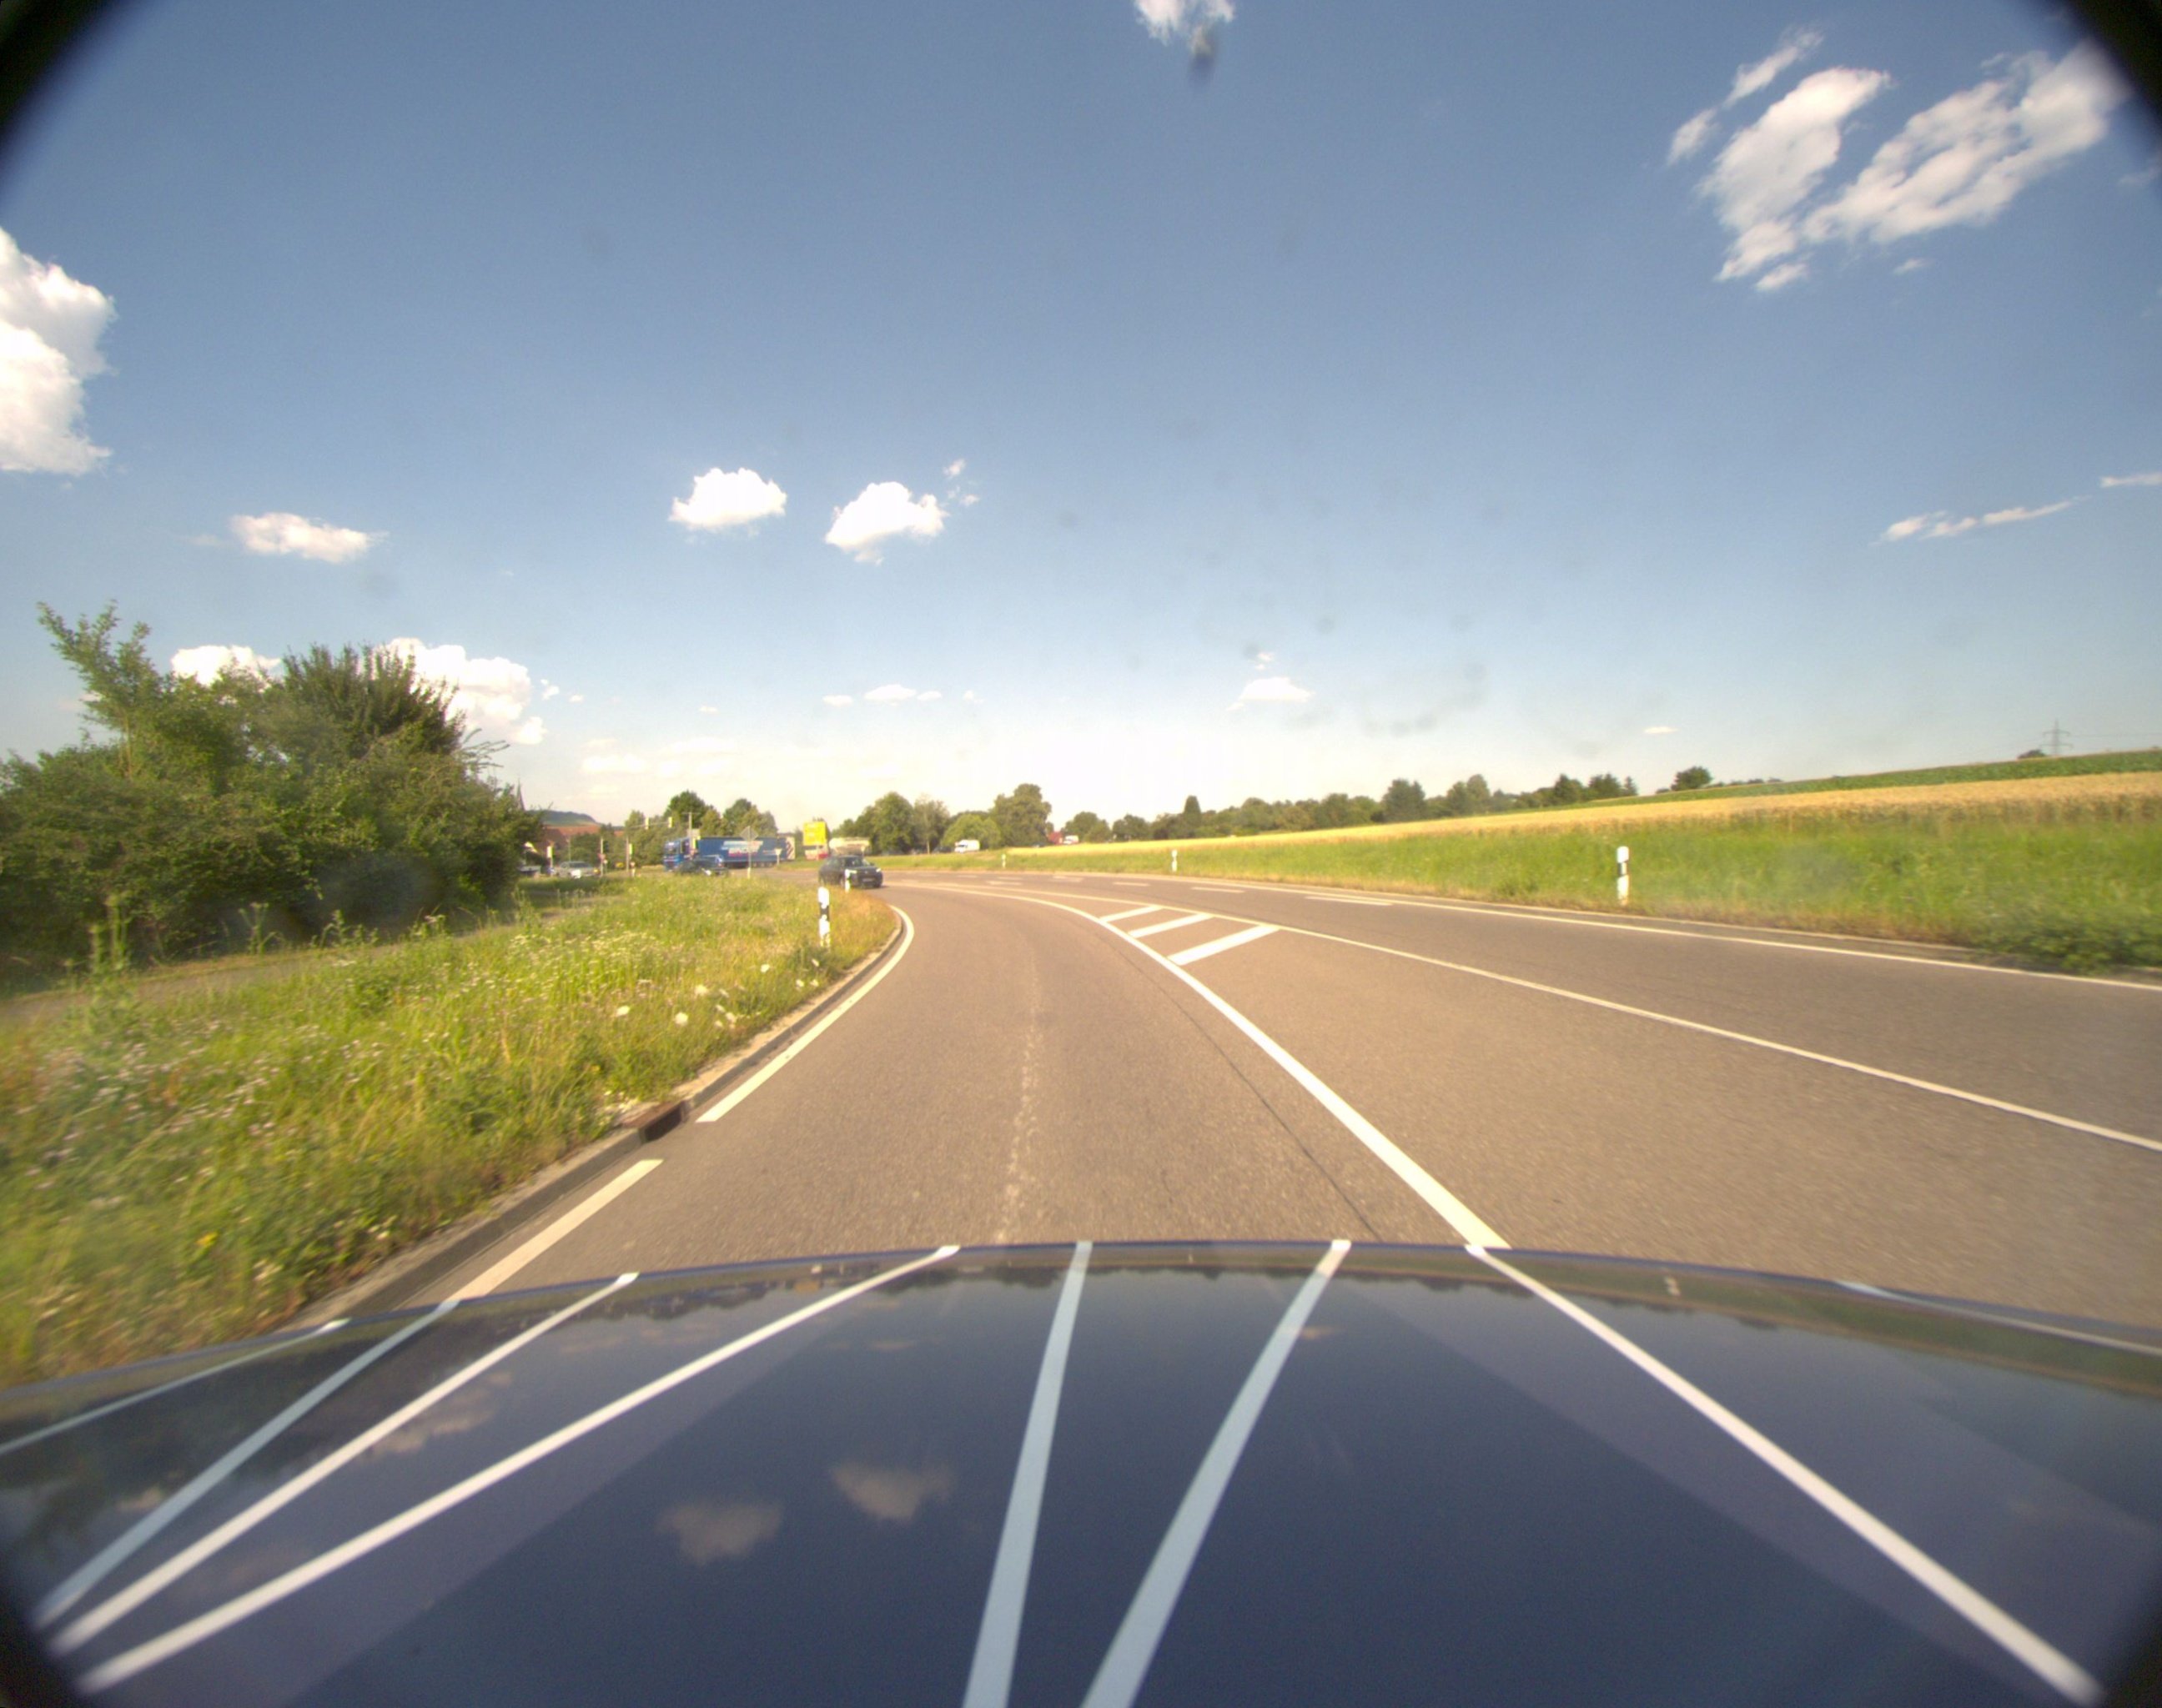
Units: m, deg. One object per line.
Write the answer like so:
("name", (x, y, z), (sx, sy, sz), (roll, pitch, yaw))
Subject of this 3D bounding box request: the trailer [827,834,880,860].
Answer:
("trailer", (-35.469, -1.124, 118.845), (2.261, 3.756, 9.537), (-3, 1, 22))

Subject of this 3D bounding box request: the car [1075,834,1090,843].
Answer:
("car", (0.444, -4.045, 197.185), (1.996, 2.002, 4.005), (-7, 0, 26))

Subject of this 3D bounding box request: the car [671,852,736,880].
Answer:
("car", (-24.320, 0.778, 48.884), (4.535, 1.604, 1.779), (-2, 2, 37))

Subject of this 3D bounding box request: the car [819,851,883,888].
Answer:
("car", (-11.146, 0.714, 36.603), (1.792, 1.620, 4.458), (-4, 1, -31))

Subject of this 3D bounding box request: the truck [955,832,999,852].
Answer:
("truck", (-20.965, -2.479, 154.634), (2.524, 3.752, 12.915), (-2, 1, 23))

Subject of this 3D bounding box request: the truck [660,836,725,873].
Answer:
("truck", (-44.794, 0.053, 87.778), (3.368, 3.982, 5.608), (-2, 1, 22))

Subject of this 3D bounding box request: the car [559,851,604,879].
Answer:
("car", (-38.537, 0.855, 58.576), (4.359, 1.937, 1.911), (0, 5, 45))

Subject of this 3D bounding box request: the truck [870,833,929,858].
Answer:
("truck", (-31.010, -1.486, 130.558), (2.525, 3.752, 12.915), (-3, 1, 23))

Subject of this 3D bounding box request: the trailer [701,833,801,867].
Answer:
("trailer", (-43.439, -0.686, 100.935), (2.534, 4.043, 14.355), (-2, 1, 23))

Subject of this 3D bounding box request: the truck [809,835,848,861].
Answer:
("truck", (-37.670, -0.933, 113.456), (2.258, 3.783, 5.693), (-2, 1, 22))

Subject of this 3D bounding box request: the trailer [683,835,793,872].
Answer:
("trailer", (-42.139, -0.198, 94.300), (3.411, 3.982, 13.767), (-2, 1, 22))
